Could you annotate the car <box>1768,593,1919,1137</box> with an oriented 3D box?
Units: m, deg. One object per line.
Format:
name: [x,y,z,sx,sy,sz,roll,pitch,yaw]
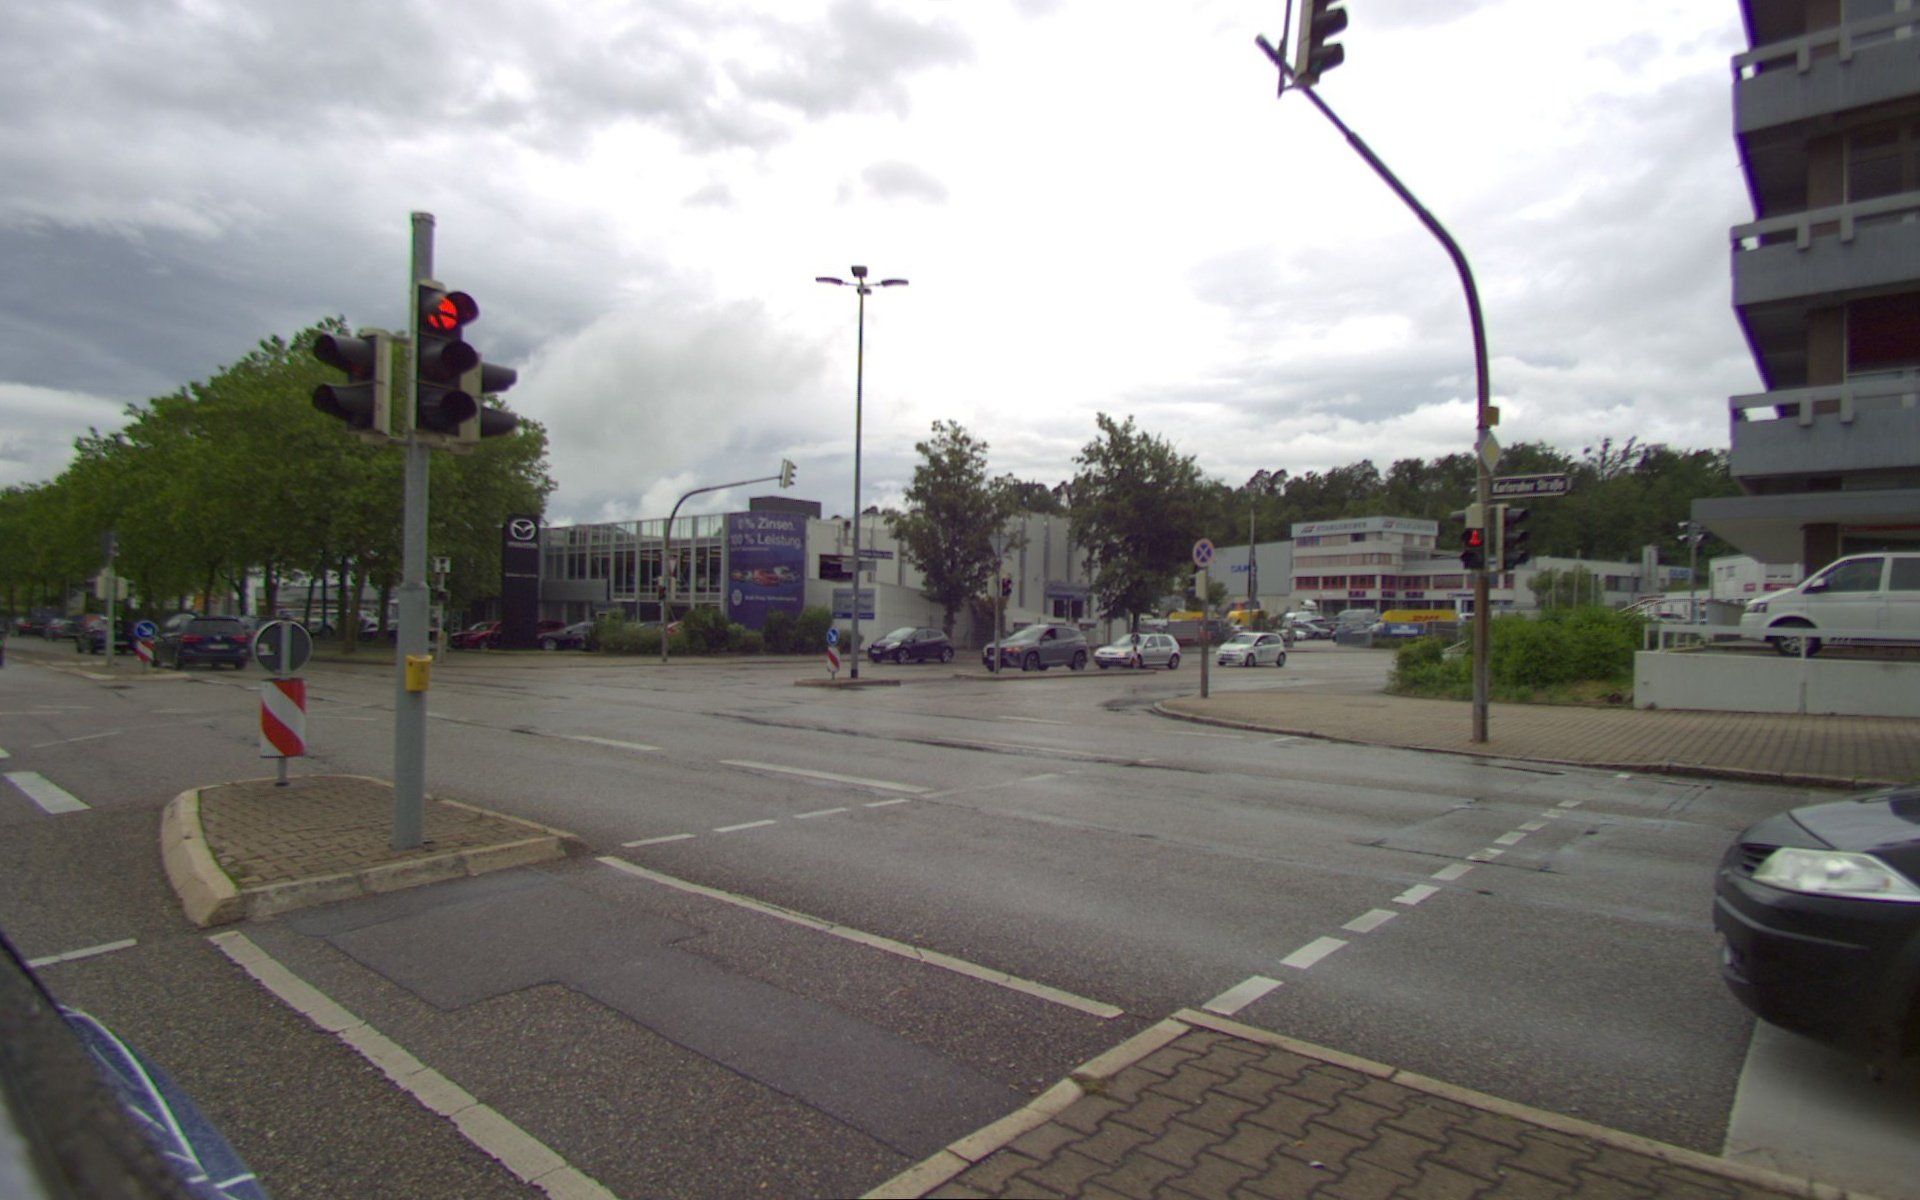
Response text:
car: [4.322,0.676,2.172,3.995,1.387,1.666,-1,-2,38]

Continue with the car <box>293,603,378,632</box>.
car: [-40.390,1.138,65.579,1.984,1.829,4.440,0,-2,19]

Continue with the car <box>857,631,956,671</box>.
car: [-2.133,2.039,41.244,1.817,1.500,3.937,-1,-2,42]

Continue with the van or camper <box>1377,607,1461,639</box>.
van or camper: [36.170,1.838,79.895,5.720,2.374,1.913,-1,-3,41]

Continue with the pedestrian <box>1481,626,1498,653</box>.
pedestrian: [35.051,2.612,66.990,0.523,1.793,0.869,1,-2,-14]

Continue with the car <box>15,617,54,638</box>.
car: [-63.291,1.904,69.189,3.999,1.373,1.624,-3,-4,43]

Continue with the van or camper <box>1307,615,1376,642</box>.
van or camper: [29.392,2.223,77.942,4.760,2.029,1.960,-1,-2,30]

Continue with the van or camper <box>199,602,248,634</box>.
van or camper: [-59.978,1.468,82.357,6.400,2.489,1.972,-1,0,42]

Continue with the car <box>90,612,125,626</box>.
car: [-94.145,2.066,111.743,5.244,1.507,2.096,-1,-2,41]

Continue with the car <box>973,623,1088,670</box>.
car: [2.489,1.574,35.027,1.878,1.500,4.104,-1,-2,42]

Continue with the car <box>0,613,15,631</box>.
car: [-81.154,1.862,85.323,4.082,1.476,1.692,-1,-3,40]

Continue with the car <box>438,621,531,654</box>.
car: [-25.572,1.969,54.632,1.984,1.608,4.540,0,0,19]

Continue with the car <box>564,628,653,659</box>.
car: [-16.624,2.049,47.983,1.687,1.401,3.705,-1,-2,37]

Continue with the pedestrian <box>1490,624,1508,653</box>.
pedestrian: [35.762,2.565,67.146,0.711,1.900,0.748,1,-2,-14]

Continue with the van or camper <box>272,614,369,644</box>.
van or camper: [-42.716,1.916,67.737,2.089,1.783,5.341,3,0,19]

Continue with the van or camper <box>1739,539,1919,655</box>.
van or camper: [17.051,-0.065,18.140,4.787,1.981,1.973,0,1,42]

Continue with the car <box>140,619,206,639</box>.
car: [-80.286,2.943,103.292,2.128,2.029,4.994,-1,-2,40]

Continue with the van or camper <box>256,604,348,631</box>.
van or camper: [-46.170,1.224,71.193,2.246,1.835,5.271,0,-1,16]

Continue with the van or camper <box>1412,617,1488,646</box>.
van or camper: [35.271,2.259,72.888,1.824,2.061,4.593,2,-3,-44]

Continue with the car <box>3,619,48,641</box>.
car: [-64.400,2.061,69.754,4.170,1.393,1.693,-1,-4,40]

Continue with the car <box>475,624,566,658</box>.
car: [-22.838,2.159,52.765,1.996,1.666,4.206,1,-2,18]

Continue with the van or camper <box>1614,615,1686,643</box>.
van or camper: [51.229,2.127,75.230,4.224,2.029,1.806,-1,-1,29]

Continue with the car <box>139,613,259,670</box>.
car: [-23.396,1.238,31.064,4.358,1.620,1.892,-1,-2,39]

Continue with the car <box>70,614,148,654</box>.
car: [-35.883,1.426,42.649,3.995,1.592,1.694,-1,-3,38]

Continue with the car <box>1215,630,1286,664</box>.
car: [12.893,2.060,44.832,3.335,1.410,1.505,2,-2,-42]

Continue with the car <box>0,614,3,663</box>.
car: [-31.295,1.182,31.591,4.076,1.501,1.695,-1,-2,42]

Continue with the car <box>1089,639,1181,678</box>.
car: [6.835,2.222,39.300,1.878,1.410,3.648,-1,-2,42]
